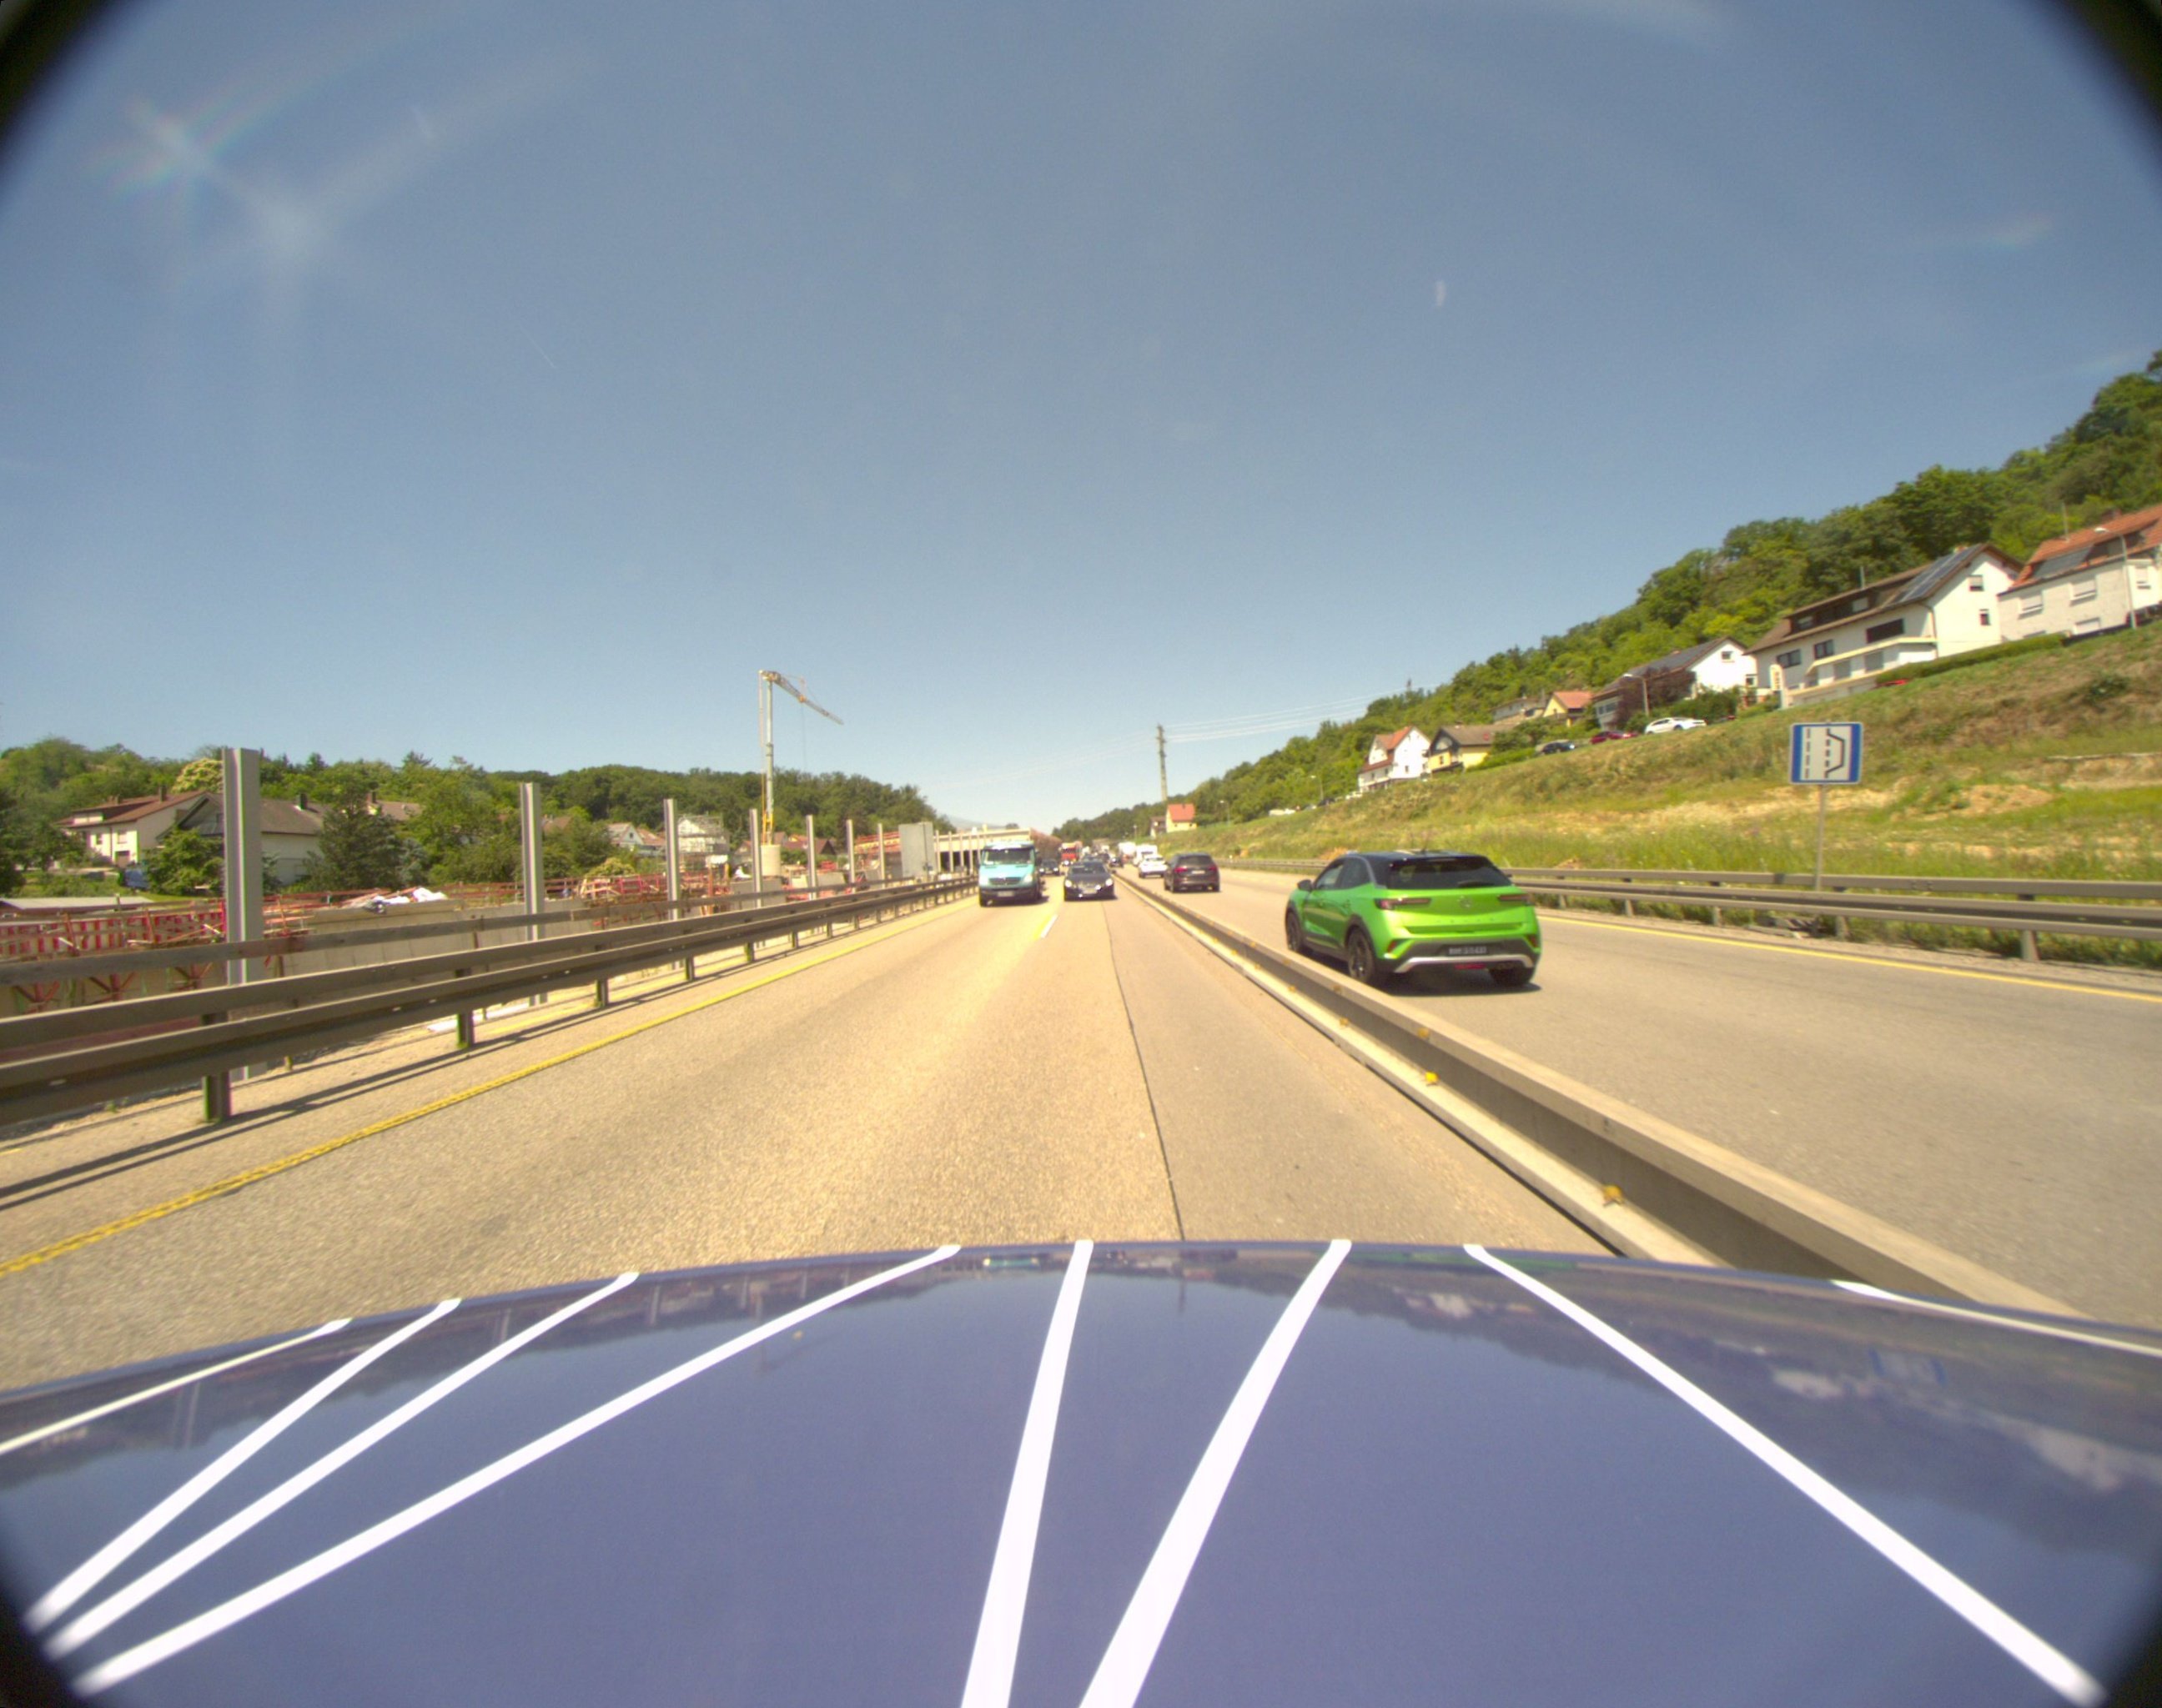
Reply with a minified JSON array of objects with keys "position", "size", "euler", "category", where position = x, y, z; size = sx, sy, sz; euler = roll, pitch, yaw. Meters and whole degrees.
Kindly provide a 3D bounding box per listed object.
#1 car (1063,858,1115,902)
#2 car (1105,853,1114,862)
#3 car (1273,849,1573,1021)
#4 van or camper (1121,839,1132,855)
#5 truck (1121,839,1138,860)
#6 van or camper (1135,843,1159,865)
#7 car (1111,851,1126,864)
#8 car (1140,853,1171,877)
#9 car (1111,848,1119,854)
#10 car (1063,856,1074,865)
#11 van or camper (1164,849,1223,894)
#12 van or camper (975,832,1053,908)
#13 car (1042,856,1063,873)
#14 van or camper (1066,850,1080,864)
[{"position":[0.292,0.925,28.310],"size":[1.747,1.420,4.000],"euler":[-3,0,1],"category":"car"},{"position":[5.181,0.643,138.348],"size":[1.601,1.499,3.161],"euler":[-4,0,1],"category":"car"},{"position":[3.715,0.757,9.123],"size":[1.758,1.499,4.000],"euler":[-4,0,1],"category":"car"},{"position":[8.307,-1.308,139.102],"size":[1.566,2.744,5.181],"euler":[-4,0,1],"category":"van or camper"},{"position":[8.168,-0.806,128.750],"size":[2.385,3.412,9.305],"euler":[-1,0,1],"category":"truck"},{"position":[8.084,-0.011,93.403],"size":[2.382,2.634,6.051],"euler":[-2,0,1],"category":"van or camper"},{"position":[4.648,0.442,93.584],"size":[1.660,1.420,3.176],"euler":[-4,0,1],"category":"car"},{"position":[4.967,0.715,51.217],"size":[1.677,1.468,4.541],"euler":[-2,0,2],"category":"car"},{"position":[9.517,-0.802,213.132],"size":[1.780,1.652,3.576],"euler":[-2,0,0],"category":"car"},{"position":[-2.109,0.998,125.890],"size":[1.679,1.346,3.486],"euler":[-4,0,1],"category":"car"},{"position":[4.560,0.686,31.339],"size":[1.832,1.658,3.888],"euler":[-2,0,1],"category":"van or camper"},{"position":[-2.366,0.534,29.114],"size":[2.097,2.458,7.671],"euler":[-2,0,1],"category":"van or camper"},{"position":[-2.413,0.907,65.292],"size":[1.611,1.324,3.496],"euler":[-3,0,1],"category":"car"},{"position":[-1.531,0.506,142.802],"size":[2.321,2.513,4.527],"euler":[-4,0,1],"category":"van or camper"}]
